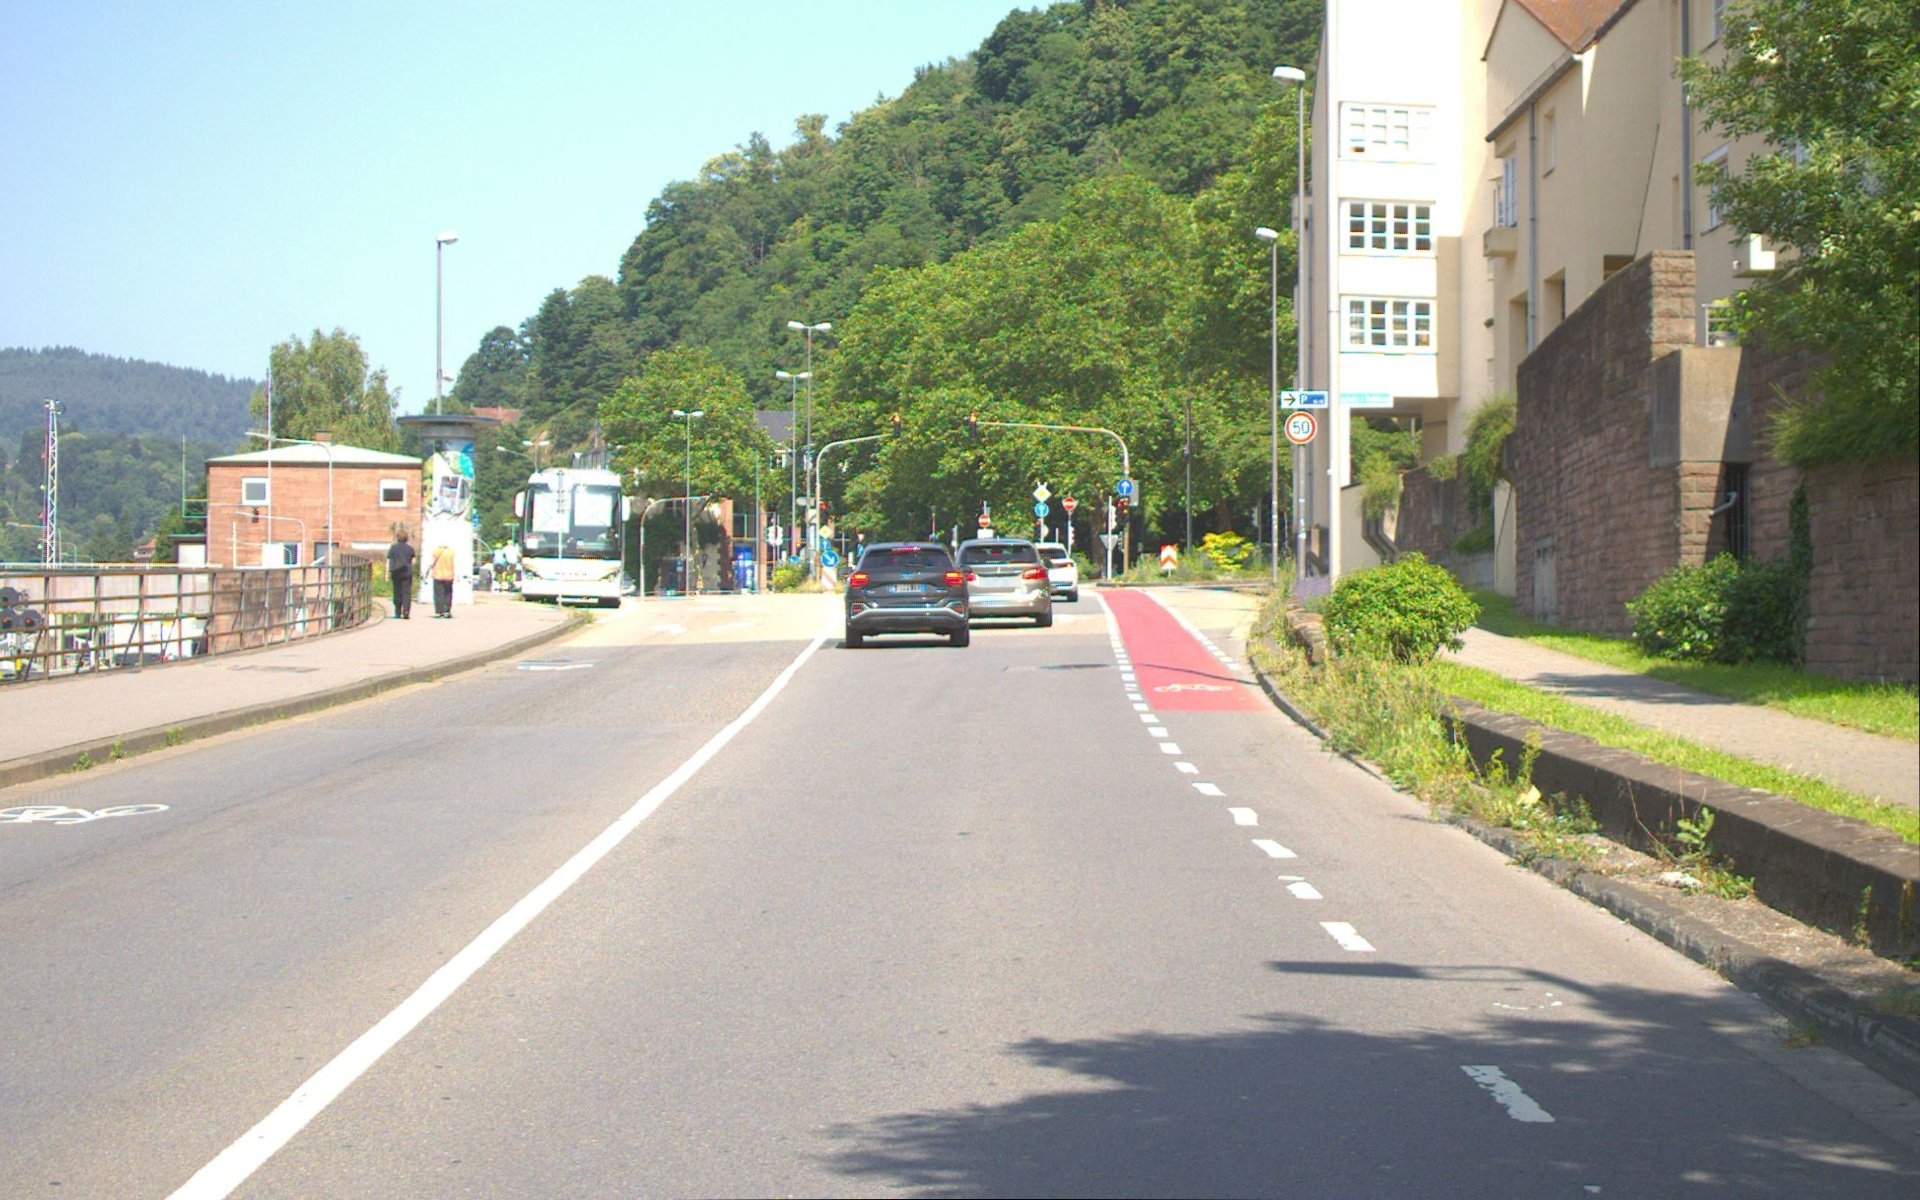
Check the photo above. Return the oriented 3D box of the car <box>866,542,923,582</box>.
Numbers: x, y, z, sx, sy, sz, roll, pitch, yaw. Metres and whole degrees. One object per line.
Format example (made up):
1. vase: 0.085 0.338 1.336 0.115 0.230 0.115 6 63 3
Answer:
1. car: -2.286 -1.327 119.579 1.866 1.354 4.001 -1 1 -3

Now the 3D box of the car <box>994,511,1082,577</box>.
1. car: 1.852 -1.327 82.791 1.993 1.528 4.858 1 0 0

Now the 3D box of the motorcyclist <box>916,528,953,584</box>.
1. motorcyclist: -0.775 -1.365 105.459 1.075 1.678 1.156 -2 1 -1

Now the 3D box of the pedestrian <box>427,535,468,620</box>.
1. pedestrian: -9.824 -0.436 65.933 0.702 1.615 0.817 0 0 -2

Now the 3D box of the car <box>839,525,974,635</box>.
1. car: -0.747 -0.295 50.240 1.869 1.508 4.151 1 0 0

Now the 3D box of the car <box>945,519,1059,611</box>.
1. car: 0.695 -0.600 59.837 1.888 1.516 4.306 1 0 0

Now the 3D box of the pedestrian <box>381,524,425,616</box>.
1. pedestrian: -10.338 -0.553 63.849 0.683 1.703 0.773 0 0 0

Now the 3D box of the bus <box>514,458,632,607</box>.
1. bus: -10.476 -1.771 94.137 2.956 3.788 13.246 0 0 -5
